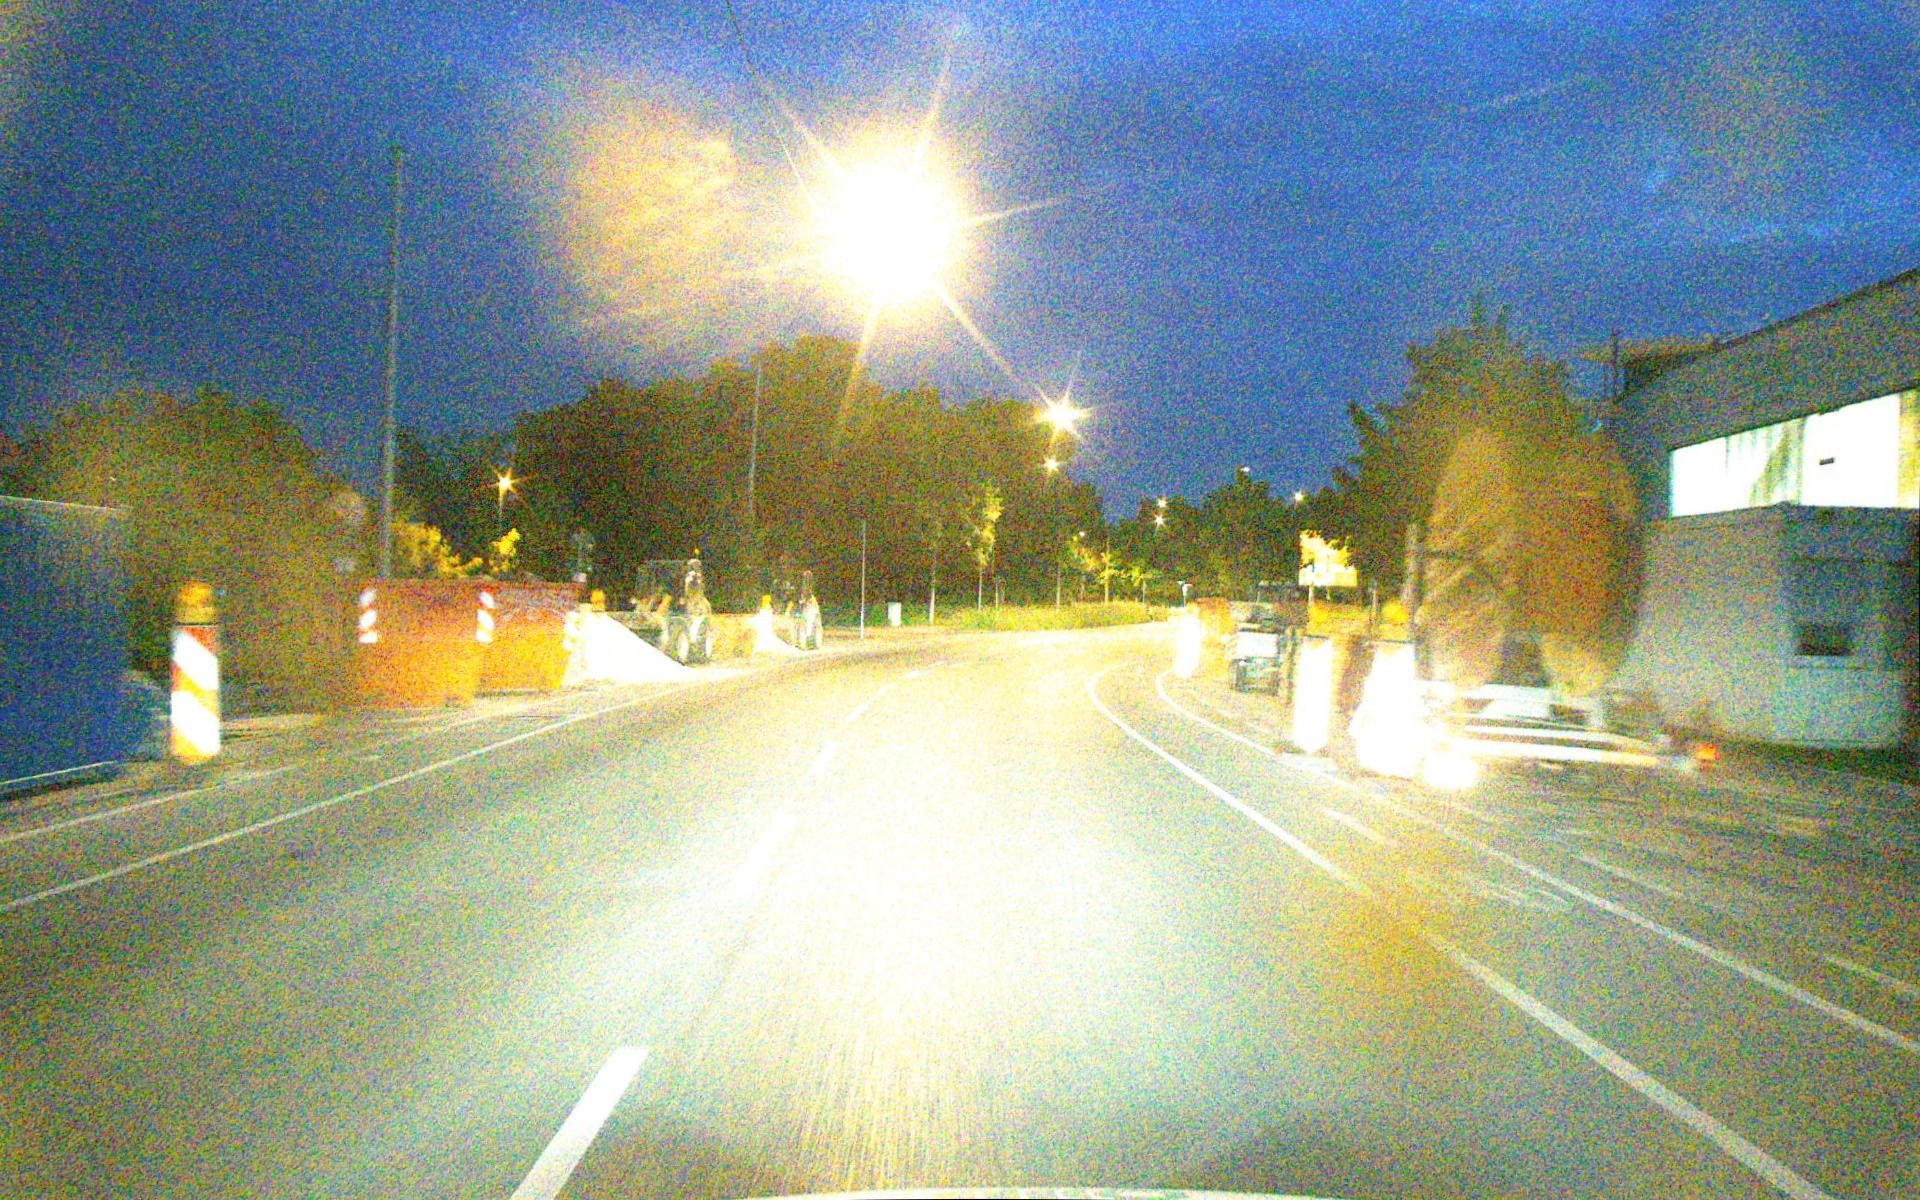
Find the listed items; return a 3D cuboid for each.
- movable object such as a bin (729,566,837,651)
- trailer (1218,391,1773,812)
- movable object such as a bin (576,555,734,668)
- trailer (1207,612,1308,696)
[{"bbox_3d":[-5.292,0.255,50.117,1.951,2.418,4.706,1,0,11],"label":"movable object such as a bin"},{"bbox_3d":[4.789,0.055,15.952,3.413,3.275,4.860,3,-1,-4],"label":"trailer"},{"bbox_3d":[-6.920,0.266,38.081,1.951,2.418,4.706,1,-1,11],"label":"movable object such as a bin"},{"bbox_3d":[5.610,0.980,31.478,1.217,1.459,3.727,1,0,0],"label":"trailer"}]
